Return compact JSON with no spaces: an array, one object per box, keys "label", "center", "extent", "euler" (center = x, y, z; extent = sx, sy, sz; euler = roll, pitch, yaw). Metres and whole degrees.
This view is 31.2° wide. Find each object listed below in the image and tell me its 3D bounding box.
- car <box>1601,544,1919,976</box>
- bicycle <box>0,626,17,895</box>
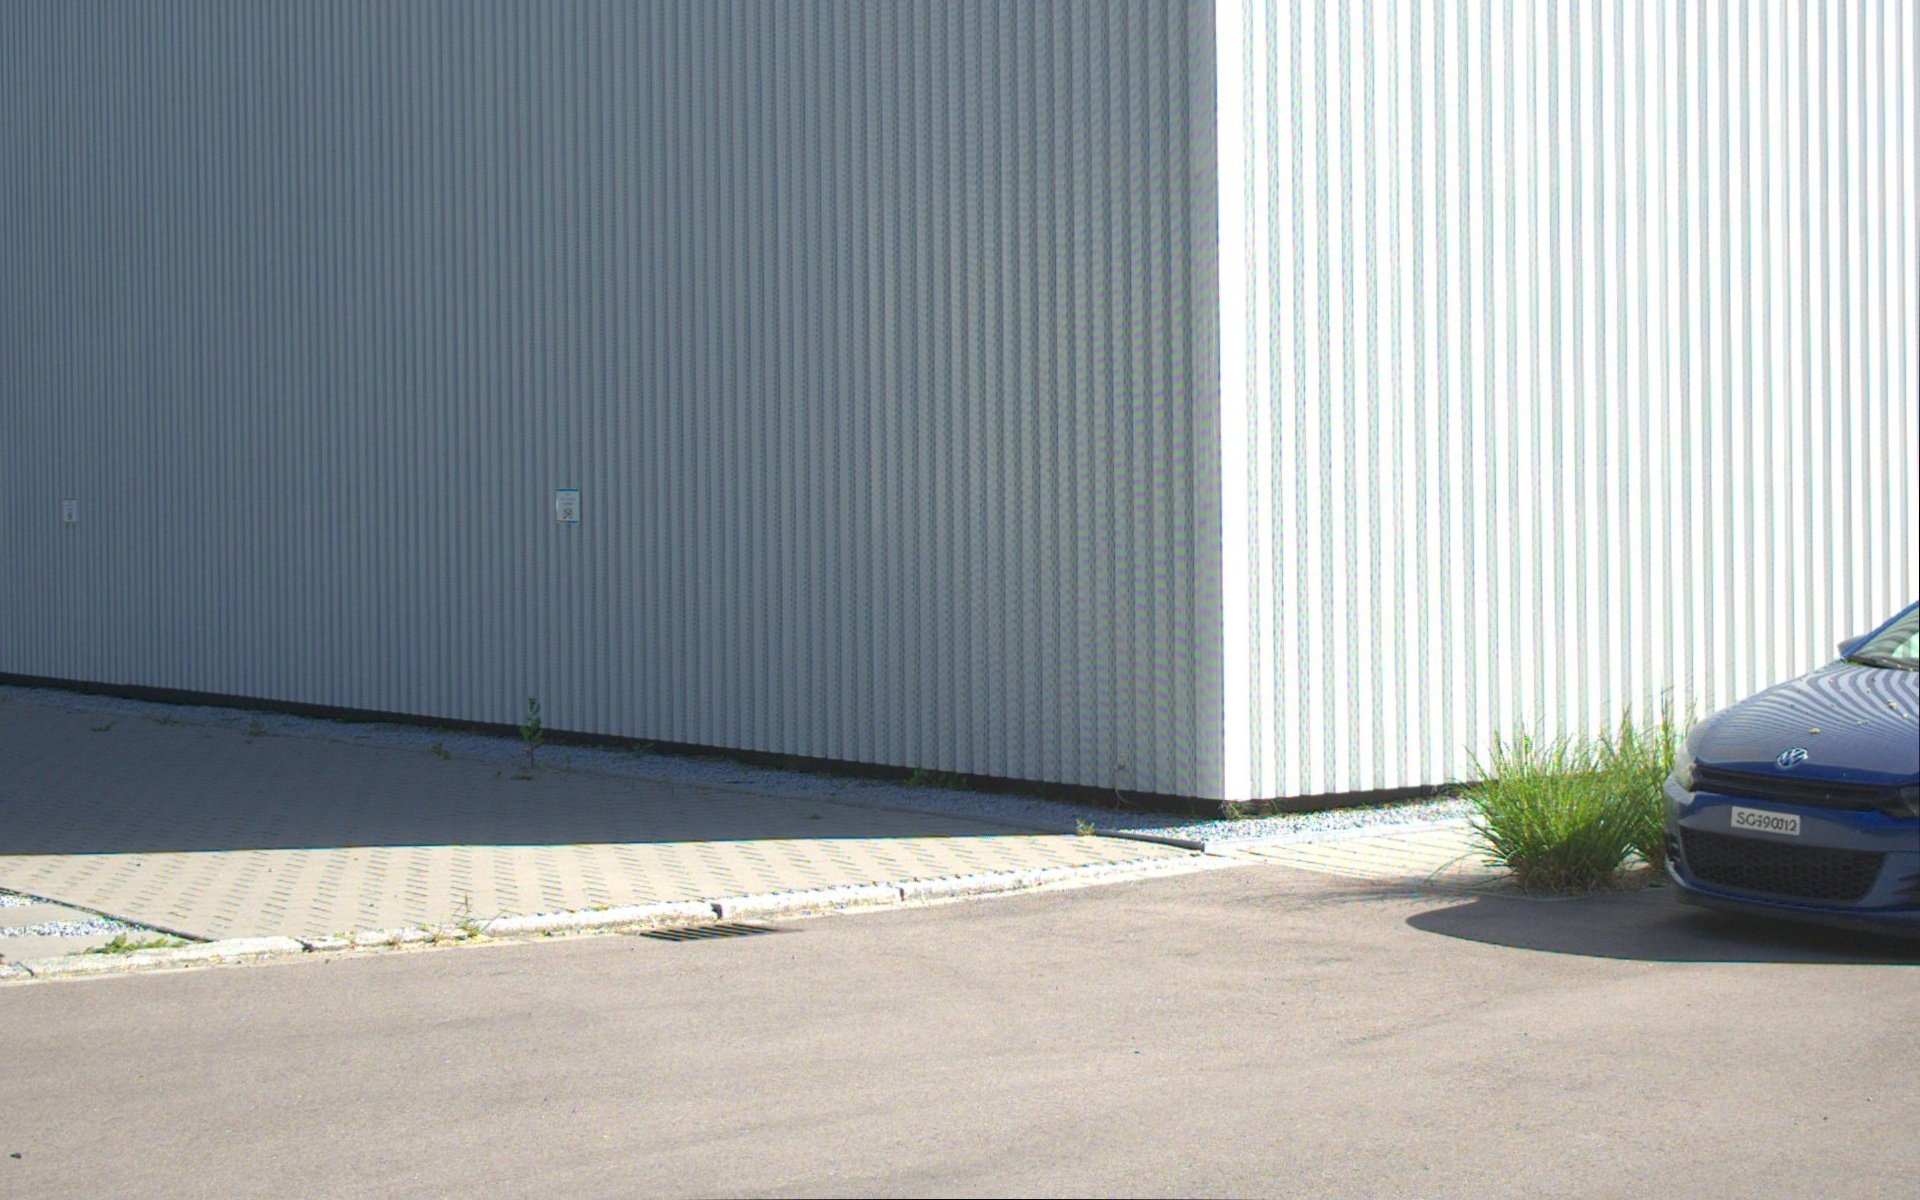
[{"label":"car","center":[4.405,0.487,12.828],"extent":[3.941,1.345,1.674],"euler":[-2,3,-35]},{"label":"bicycle","center":[-4.584,0.652,13.228],"extent":[1.800,1.058,0.459],"euler":[-2,2,-39]}]
